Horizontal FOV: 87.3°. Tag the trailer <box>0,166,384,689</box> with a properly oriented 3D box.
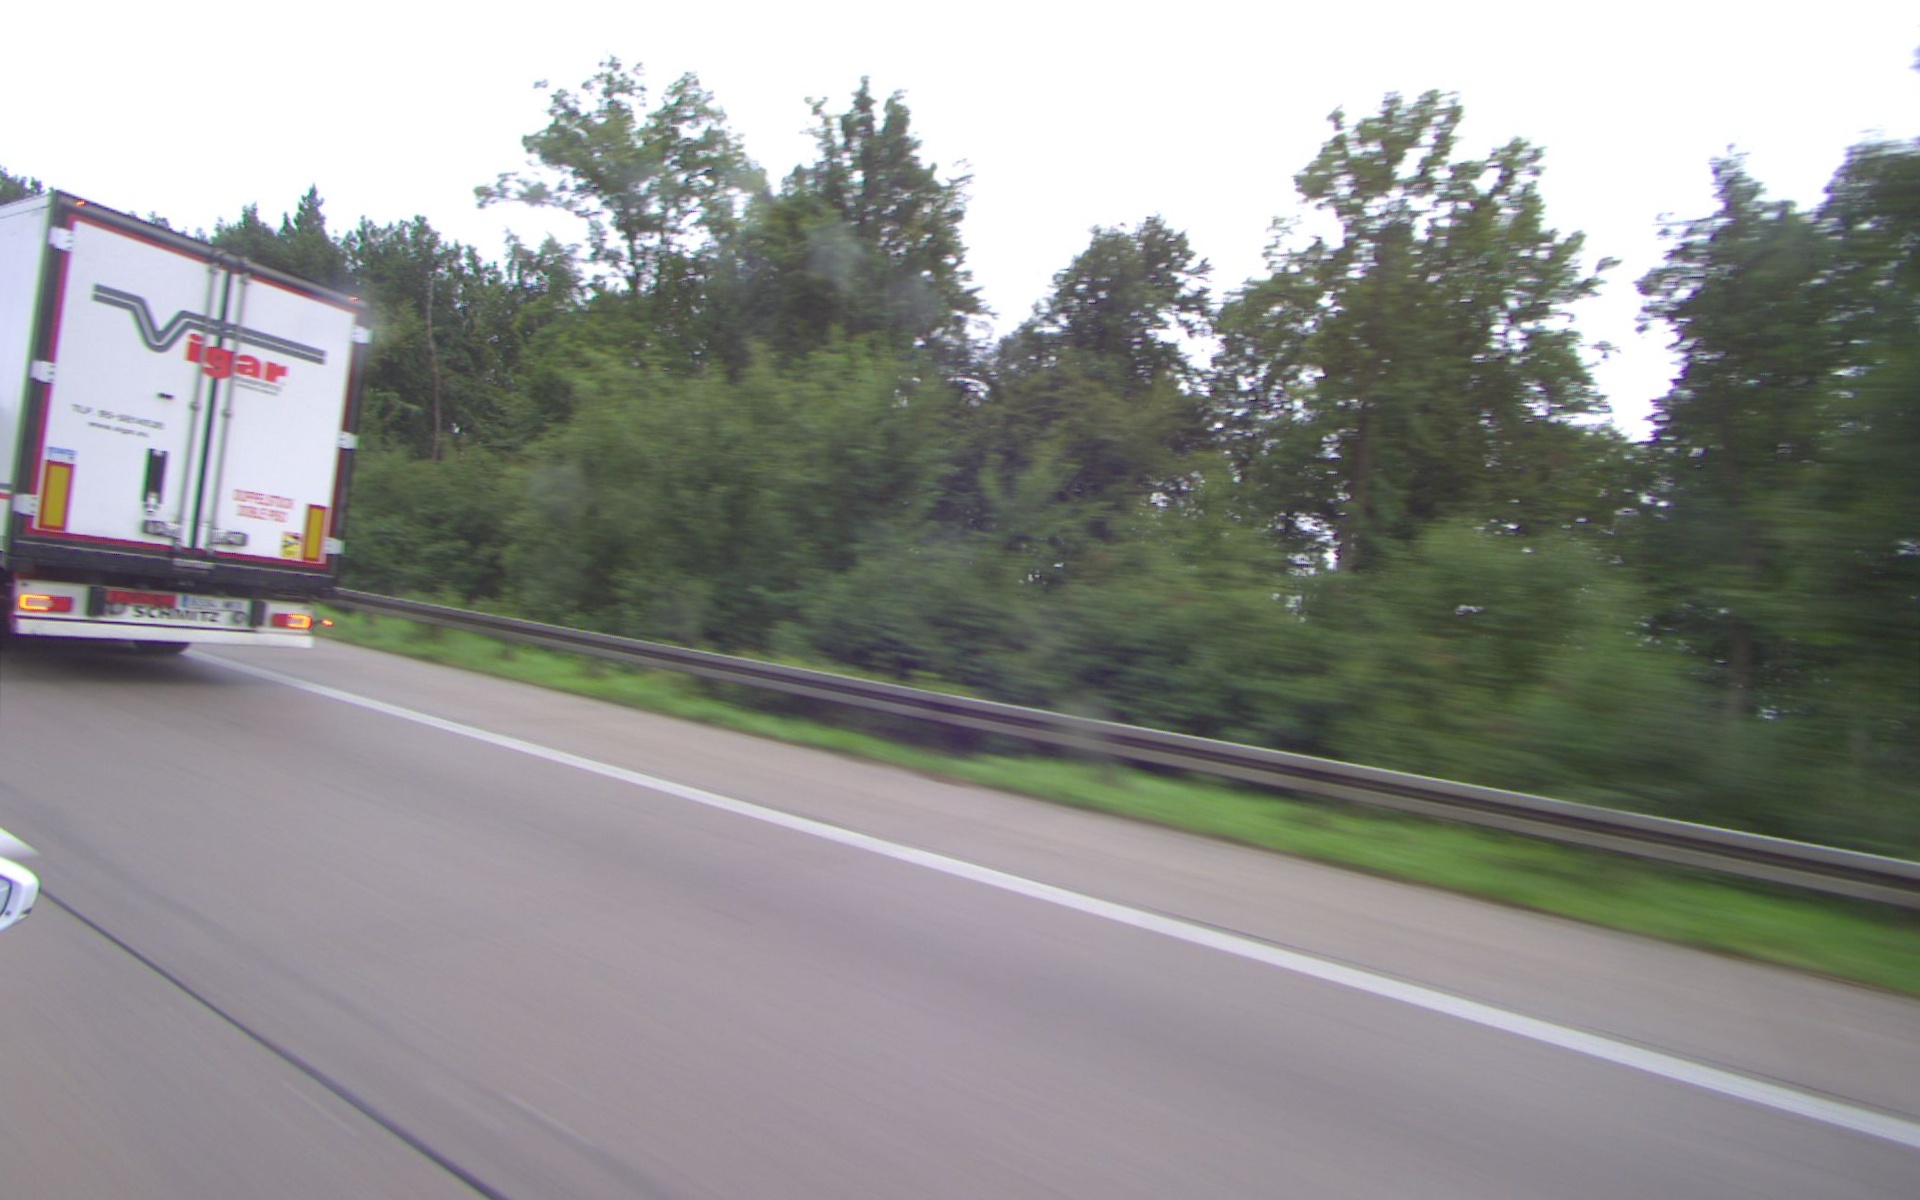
[{"bbox_3d":[-12.610,-1.926,12.618,13.452,4.153,2.739,7,-1,31],"label":"trailer"}]

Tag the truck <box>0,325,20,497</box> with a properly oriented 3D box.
[{"bbox_3d":[-18.064,-2.544,15.847,5.865,4.153,2.804,7,-1,29],"label":"truck"}]
